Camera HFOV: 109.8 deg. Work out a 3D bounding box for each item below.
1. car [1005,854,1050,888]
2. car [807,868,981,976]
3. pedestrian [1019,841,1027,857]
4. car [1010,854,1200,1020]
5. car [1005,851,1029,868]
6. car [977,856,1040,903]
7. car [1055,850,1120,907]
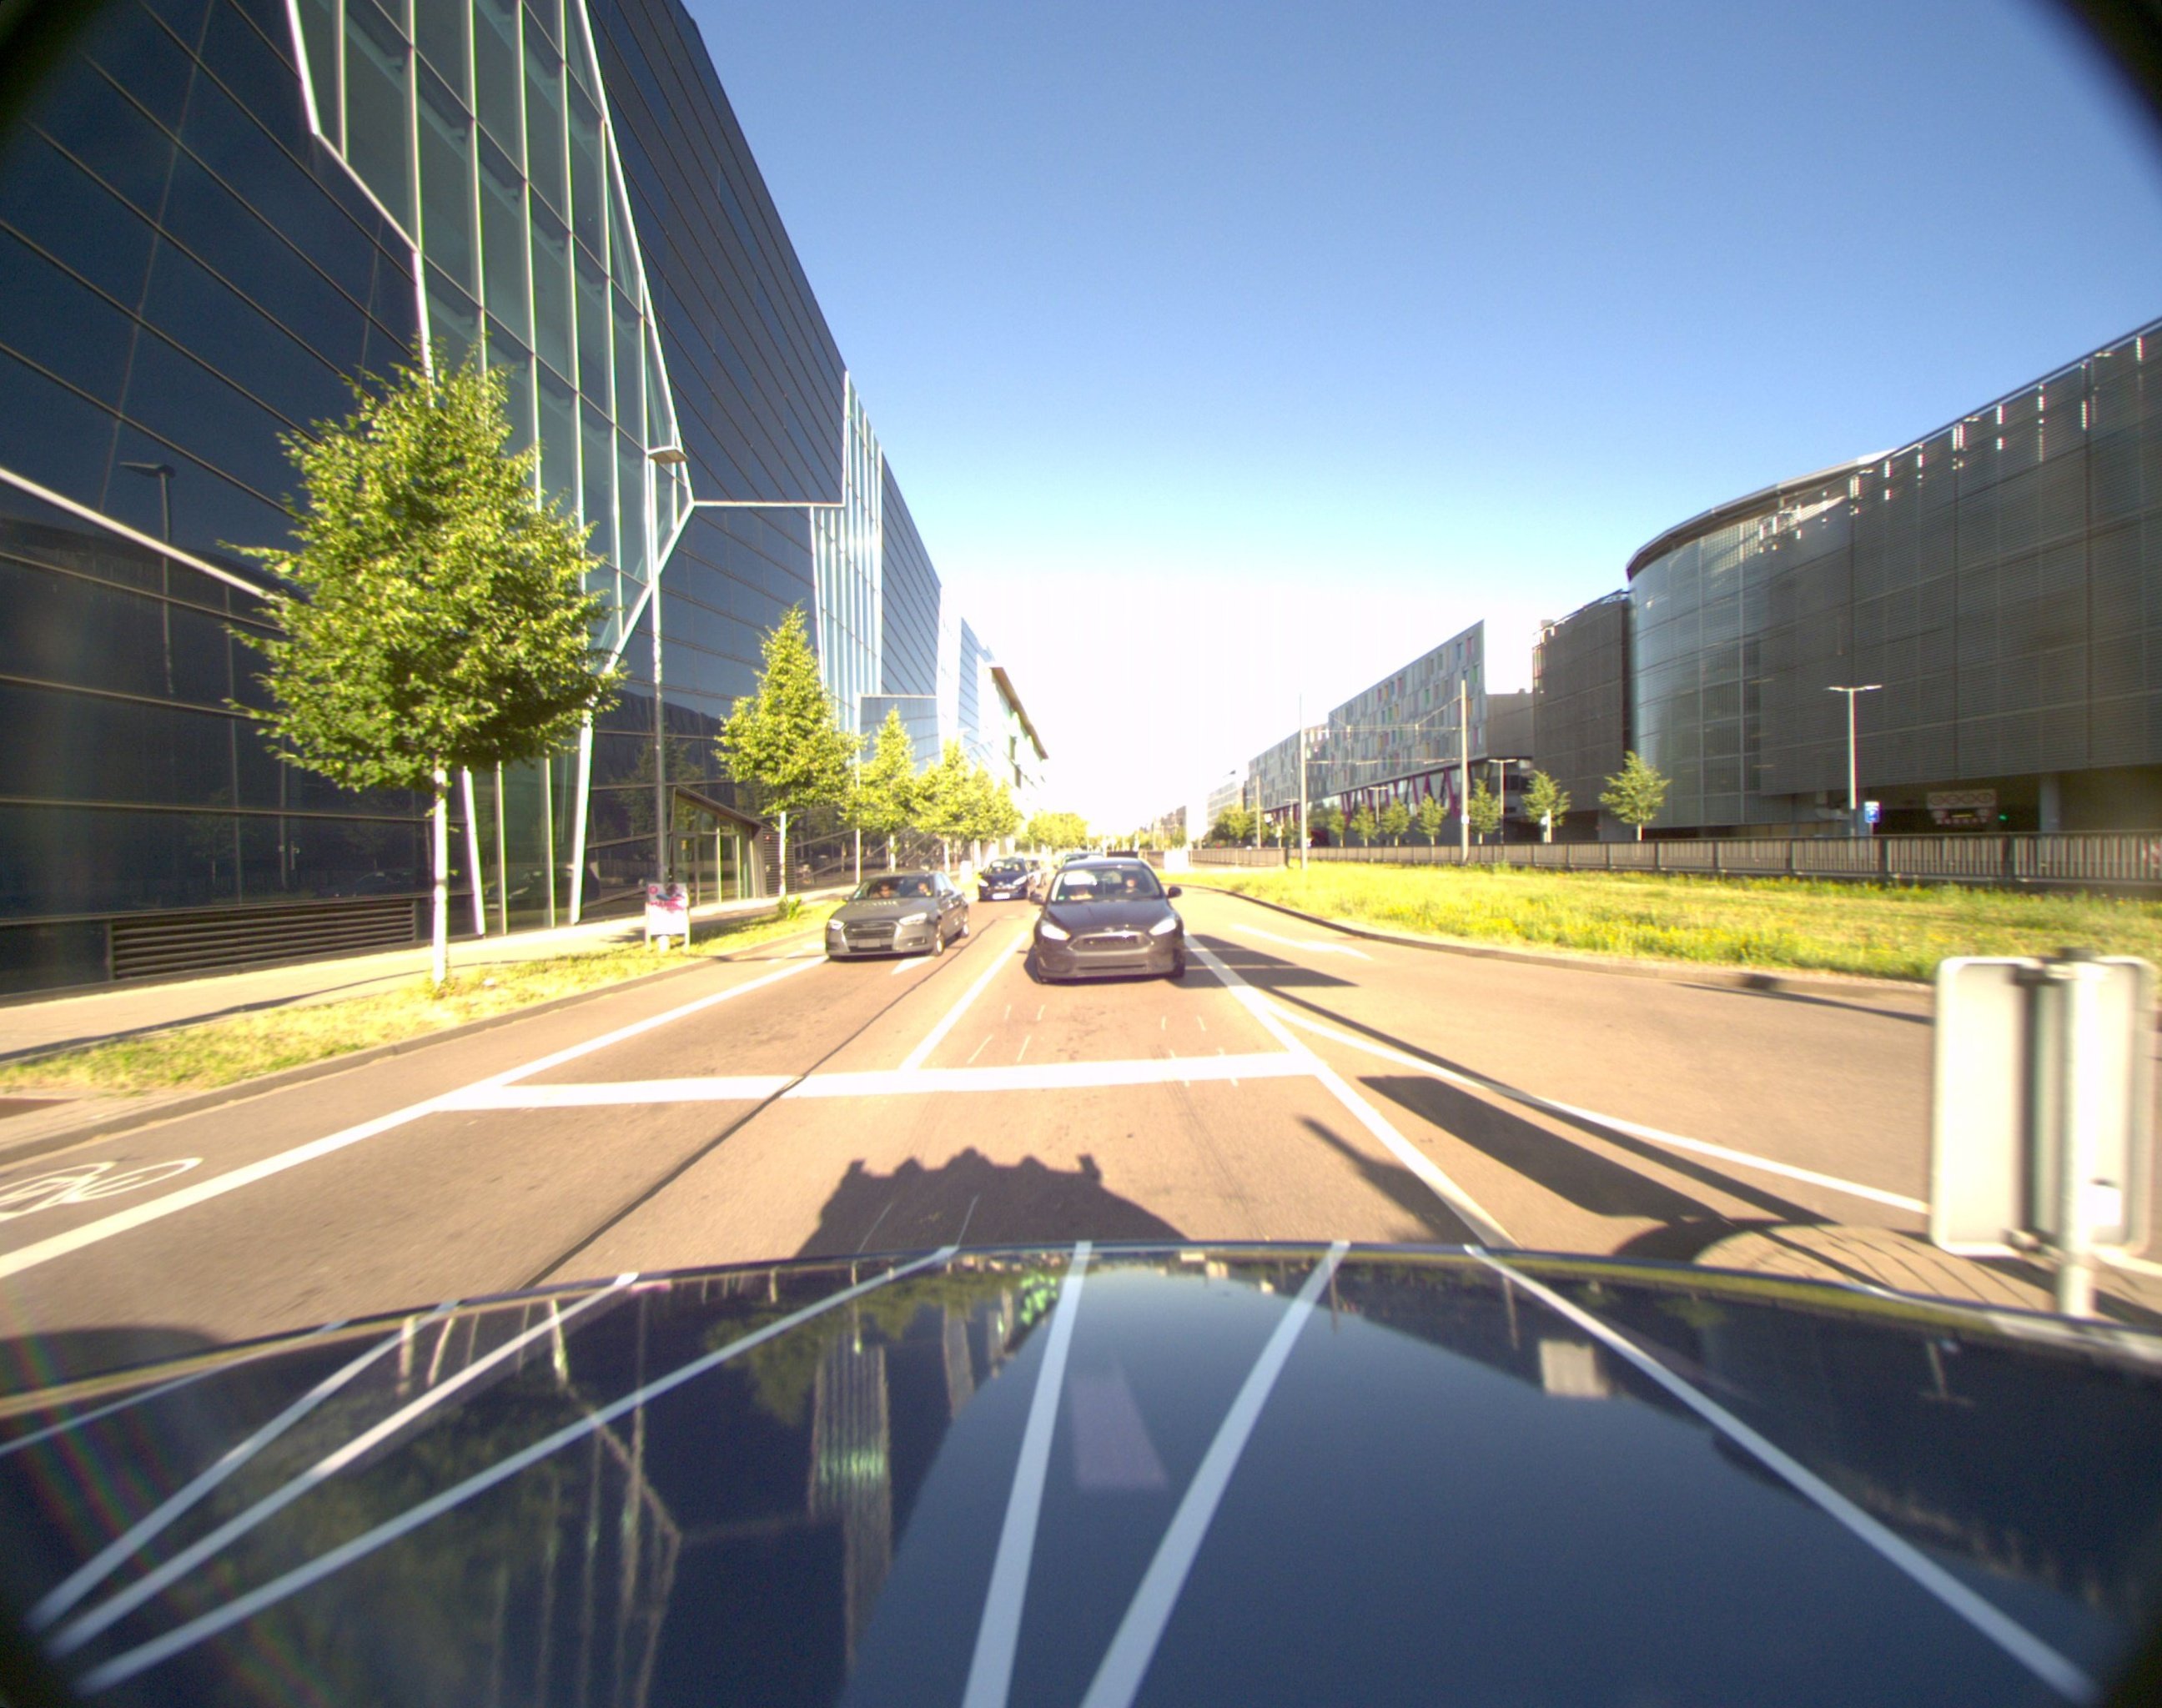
[{"bbox_3d":[-2.502,0.779,36.203,1.753,1.470,3.417,-2,1,1],"label":"car"},{"bbox_3d":[-3.060,1.063,13.428,1.750,1.384,4.264,-2,1,3],"label":"car"},{"bbox_3d":[-6.956,-0.617,91.165,0.828,1.814,0.905,2,1,1],"label":"pedestrian"},{"bbox_3d":[0.281,0.821,9.789,1.787,1.499,4.589,-3,1,1],"label":"car"},{"bbox_3d":[-5.912,0.447,70.659,1.740,1.490,4.715,1,1,1],"label":"car"},{"bbox_3d":[-2.506,0.855,27.241,1.753,1.470,3.971,-2,1,1],"label":"car"},{"bbox_3d":[0.257,0.716,24.709,1.907,1.612,3.999,-1,1,1],"label":"car"}]
